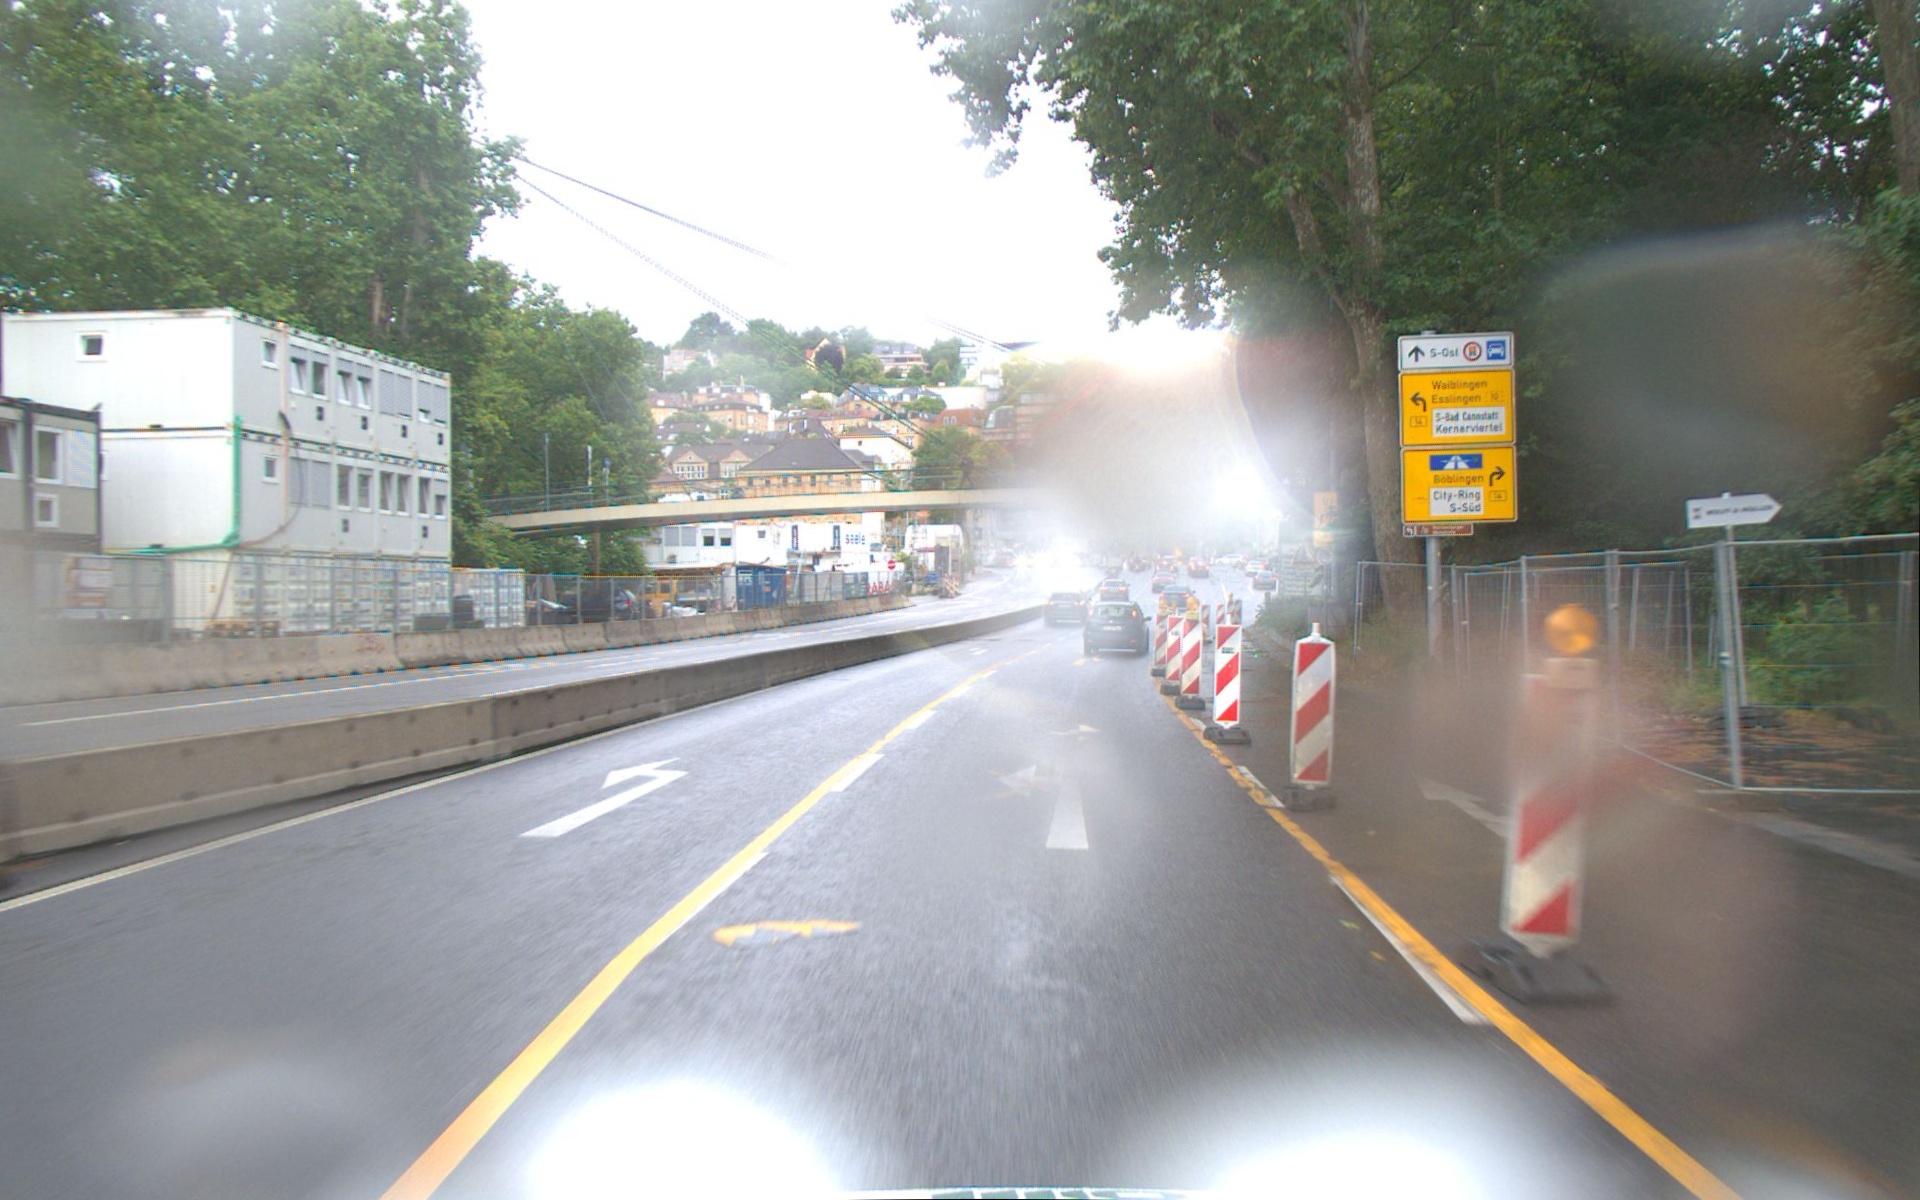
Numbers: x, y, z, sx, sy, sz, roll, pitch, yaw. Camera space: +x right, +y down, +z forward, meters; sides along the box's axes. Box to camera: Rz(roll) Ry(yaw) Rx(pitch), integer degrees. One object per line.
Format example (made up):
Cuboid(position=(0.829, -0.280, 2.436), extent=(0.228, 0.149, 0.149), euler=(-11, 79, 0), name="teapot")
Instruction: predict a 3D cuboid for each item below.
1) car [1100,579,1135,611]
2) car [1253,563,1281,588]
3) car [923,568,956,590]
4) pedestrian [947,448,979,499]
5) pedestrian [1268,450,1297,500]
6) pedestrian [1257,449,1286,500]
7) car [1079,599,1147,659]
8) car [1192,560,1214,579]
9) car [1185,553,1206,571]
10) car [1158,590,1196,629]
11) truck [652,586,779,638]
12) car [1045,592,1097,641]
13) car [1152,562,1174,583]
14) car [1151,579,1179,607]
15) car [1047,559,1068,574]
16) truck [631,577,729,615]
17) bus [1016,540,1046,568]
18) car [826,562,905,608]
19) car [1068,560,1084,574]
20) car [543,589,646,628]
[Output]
Cuboid(position=(10.434, -0.301, 109.282), extent=(1.951, 2.049, 4.003), euler=(-1, 0, 10), name="car")
Cuboid(position=(25.403, -2.040, 136.930), extent=(1.951, 2.049, 4.003), euler=(0, 1, 7), name="car")
Cuboid(position=(-1.709, -1.797, 140.098), extent=(1.951, 1.650, 4.005), euler=(-1, 2, 11), name="car")
Cuboid(position=(0.147, -5.537, 72.569), extent=(1.123, 2.096, 1.060), euler=(-1, -1, 15), name="pedestrian")
Cuboid(position=(14.247, -5.510, 73.046), extent=(1.123, 2.096, 1.060), euler=(-1, -1, 15), name="pedestrian")
Cuboid(position=(13.600, -5.482, 72.147), extent=(1.123, 2.096, 1.060), euler=(-1, -1, 15), name="pedestrian")
Cuboid(position=(4.305, 0.776, 46.257), extent=(1.774, 1.553, 4.003), euler=(-2, 0, 6), name="car")
Cuboid(position=(23.885, -2.996, 162.609), extent=(1.951, 1.728, 4.002), euler=(-1, 0, 5), name="car")
Cuboid(position=(24.048, -3.884, 168.997), extent=(1.951, 1.728, 4.002), euler=(-1, 0, 5), name="car")
Cuboid(position=(12.268, 0.538, 93.659), extent=(2.060, 2.086, 4.003), euler=(-1, 0, 7), name="car")
Cuboid(position=(-12.699, 0.612, 86.366), extent=(6.148, 2.495, 2.694), euler=(-1, 0, 0), name="truck")
Cuboid(position=(4.837, 0.703, 71.799), extent=(1.974, 2.049, 4.003), euler=(-1, 0, 7), name="car")
Cuboid(position=(19.588, -2.641, 159.429), extent=(1.951, 1.902, 4.003), euler=(-1, 0, 6), name="car")
Cuboid(position=(15.973, -0.527, 128.929), extent=(2.008, 2.049, 4.003), euler=(-1, 0, 6), name="car")
Cuboid(position=(10.952, -3.785, 185.501), extent=(2.037, 1.659, 4.857), euler=(-1, 1, 6), name="car")
Cuboid(position=(-16.033, -0.224, 94.789), extent=(5.137, 2.049, 2.165), euler=(-1, 0, 3), name="truck")
Cuboid(position=(8.539, -5.462, 197.563), extent=(2.746, 3.240, 8.815), euler=(-1, 1, 7), name="bus")
Cuboid(position=(-6.183, -0.974, 108.974), extent=(1.959, 2.925, 6.033), euler=(-2, 0, 34), name="car")
Cuboid(position=(14.205, -4.027, 202.994), extent=(1.672, 1.515, 3.453), euler=(-1, 0, 9), name="car")
Cuboid(position=(-16.962, 0.385, 76.986), extent=(4.333, 1.656, 1.959), euler=(-1, 0, -2), name="car")
